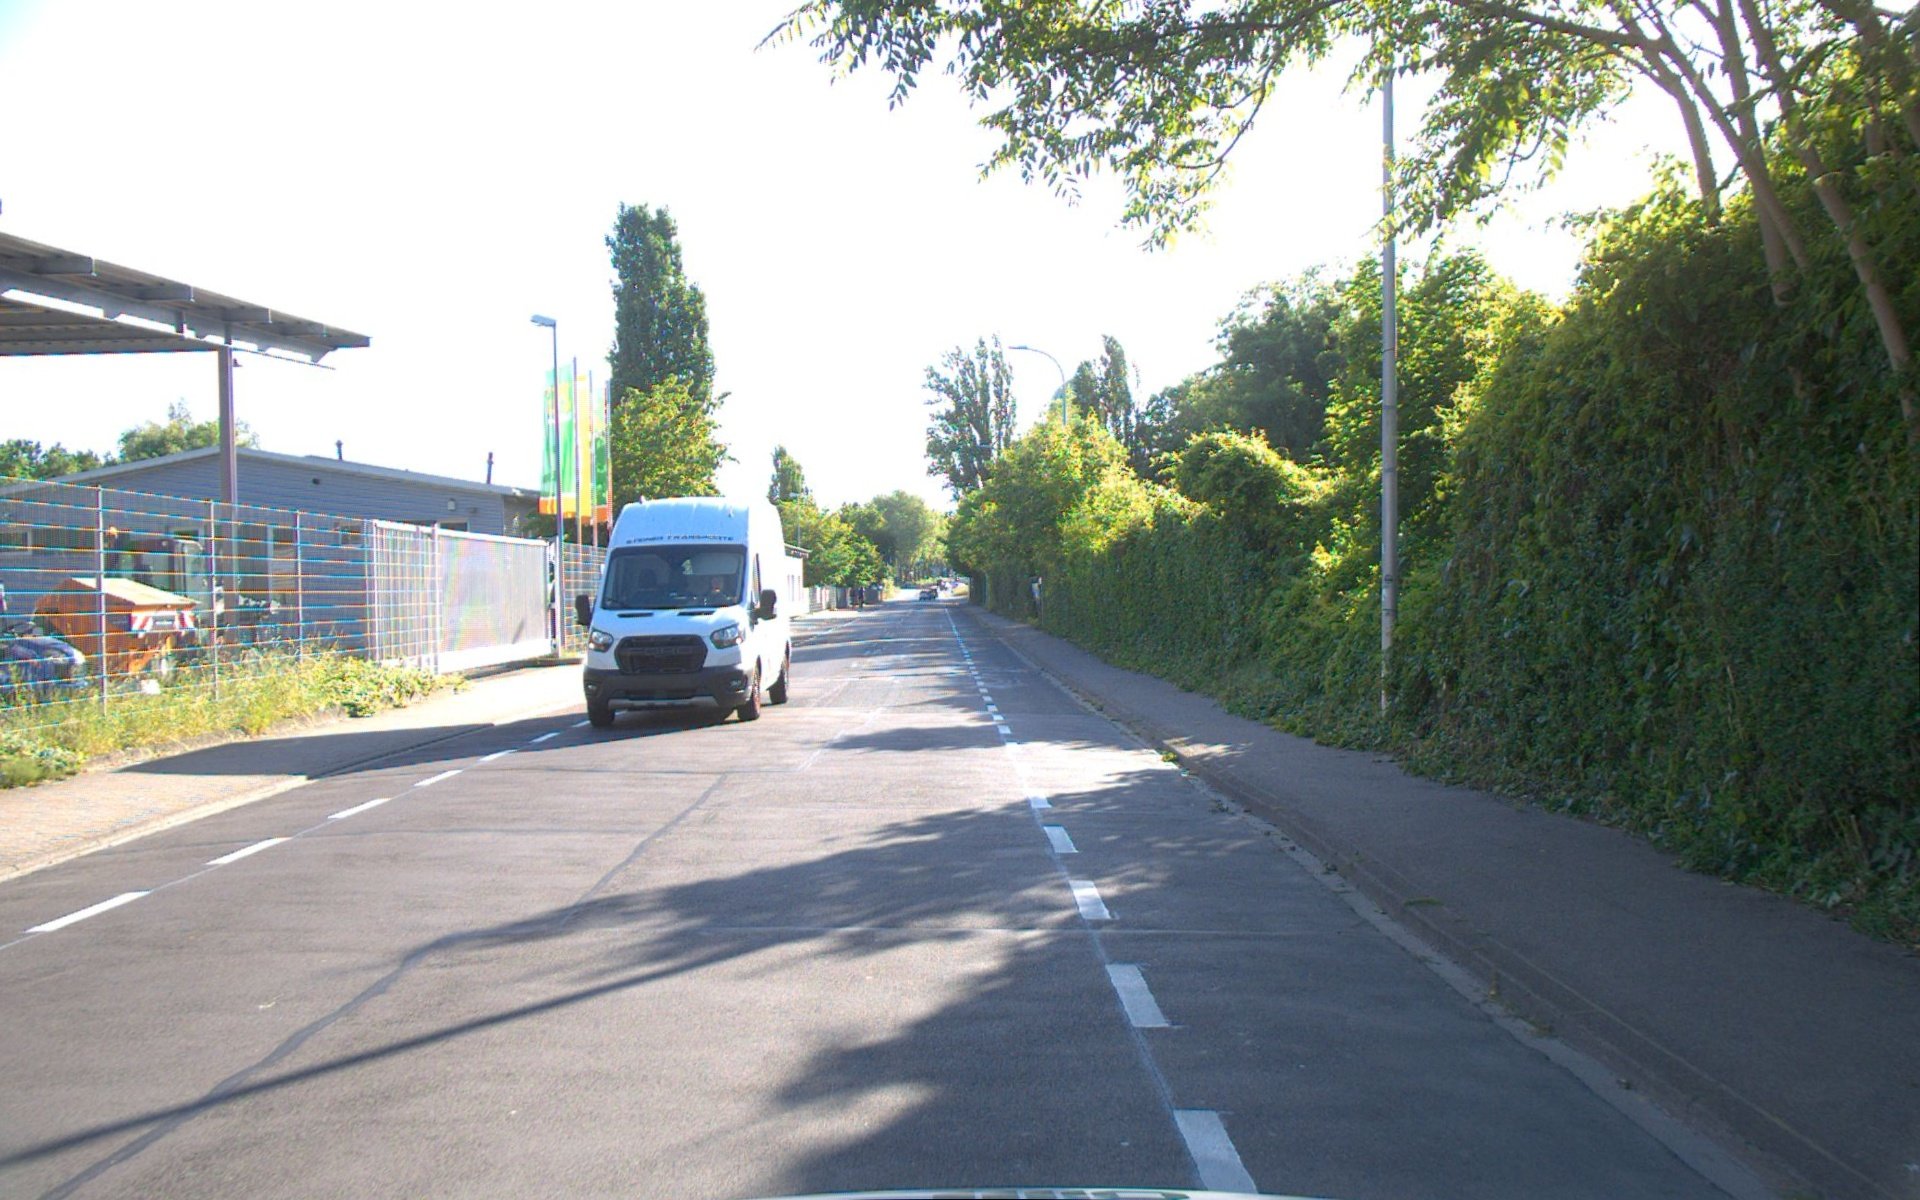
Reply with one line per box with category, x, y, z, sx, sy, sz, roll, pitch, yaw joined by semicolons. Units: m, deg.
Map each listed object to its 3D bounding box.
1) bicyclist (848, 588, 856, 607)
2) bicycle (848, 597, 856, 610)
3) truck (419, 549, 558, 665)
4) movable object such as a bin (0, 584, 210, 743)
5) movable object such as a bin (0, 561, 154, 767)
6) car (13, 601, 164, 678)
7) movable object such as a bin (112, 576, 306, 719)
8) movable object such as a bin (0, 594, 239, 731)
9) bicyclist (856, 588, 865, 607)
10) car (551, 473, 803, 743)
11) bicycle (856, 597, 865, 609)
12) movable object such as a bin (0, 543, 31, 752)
bicyclist;-9.062;-0.220;138.770;0.548;1.560;0.689;0;0;-1
bicycle;-9.057;0.299;138.851;0.551;1.052;1.351;0;0;-1
truck;-12.408;0.130;43.955;2.036;2.809;5.764;-2;1;-1
movable object such as a bin;-11.392;0.783;20.985;2.978;1.867;1.525;-2;1;-3
movable object such as a bin;-10.899;0.697;18.975;2.823;2.186;1.498;-1;1;26
car;-23.346;1.005;44.473;1.953;1.847;3.999;-2;1;-1
movable object such as a bin;-11.332;0.651;25.166;1.625;1.968;3.095;-2;1;-4
movable object such as a bin;-11.586;0.832;22.806;2.585;1.710;1.525;-2;1;-3
bicyclist;-8.325;-0.193;138.613;0.675;1.558;0.722;0;0;-1
car;-3.391;0.080;21.166;2.080;2.828;5.925;-4;0;-1
bicycle;-8.329;0.249;138.729;0.675;1.052;1.351;0;0;-1
movable object such as a bin;-11.374;0.533;17.401;2.736;2.163;1.384;-1;1;24
